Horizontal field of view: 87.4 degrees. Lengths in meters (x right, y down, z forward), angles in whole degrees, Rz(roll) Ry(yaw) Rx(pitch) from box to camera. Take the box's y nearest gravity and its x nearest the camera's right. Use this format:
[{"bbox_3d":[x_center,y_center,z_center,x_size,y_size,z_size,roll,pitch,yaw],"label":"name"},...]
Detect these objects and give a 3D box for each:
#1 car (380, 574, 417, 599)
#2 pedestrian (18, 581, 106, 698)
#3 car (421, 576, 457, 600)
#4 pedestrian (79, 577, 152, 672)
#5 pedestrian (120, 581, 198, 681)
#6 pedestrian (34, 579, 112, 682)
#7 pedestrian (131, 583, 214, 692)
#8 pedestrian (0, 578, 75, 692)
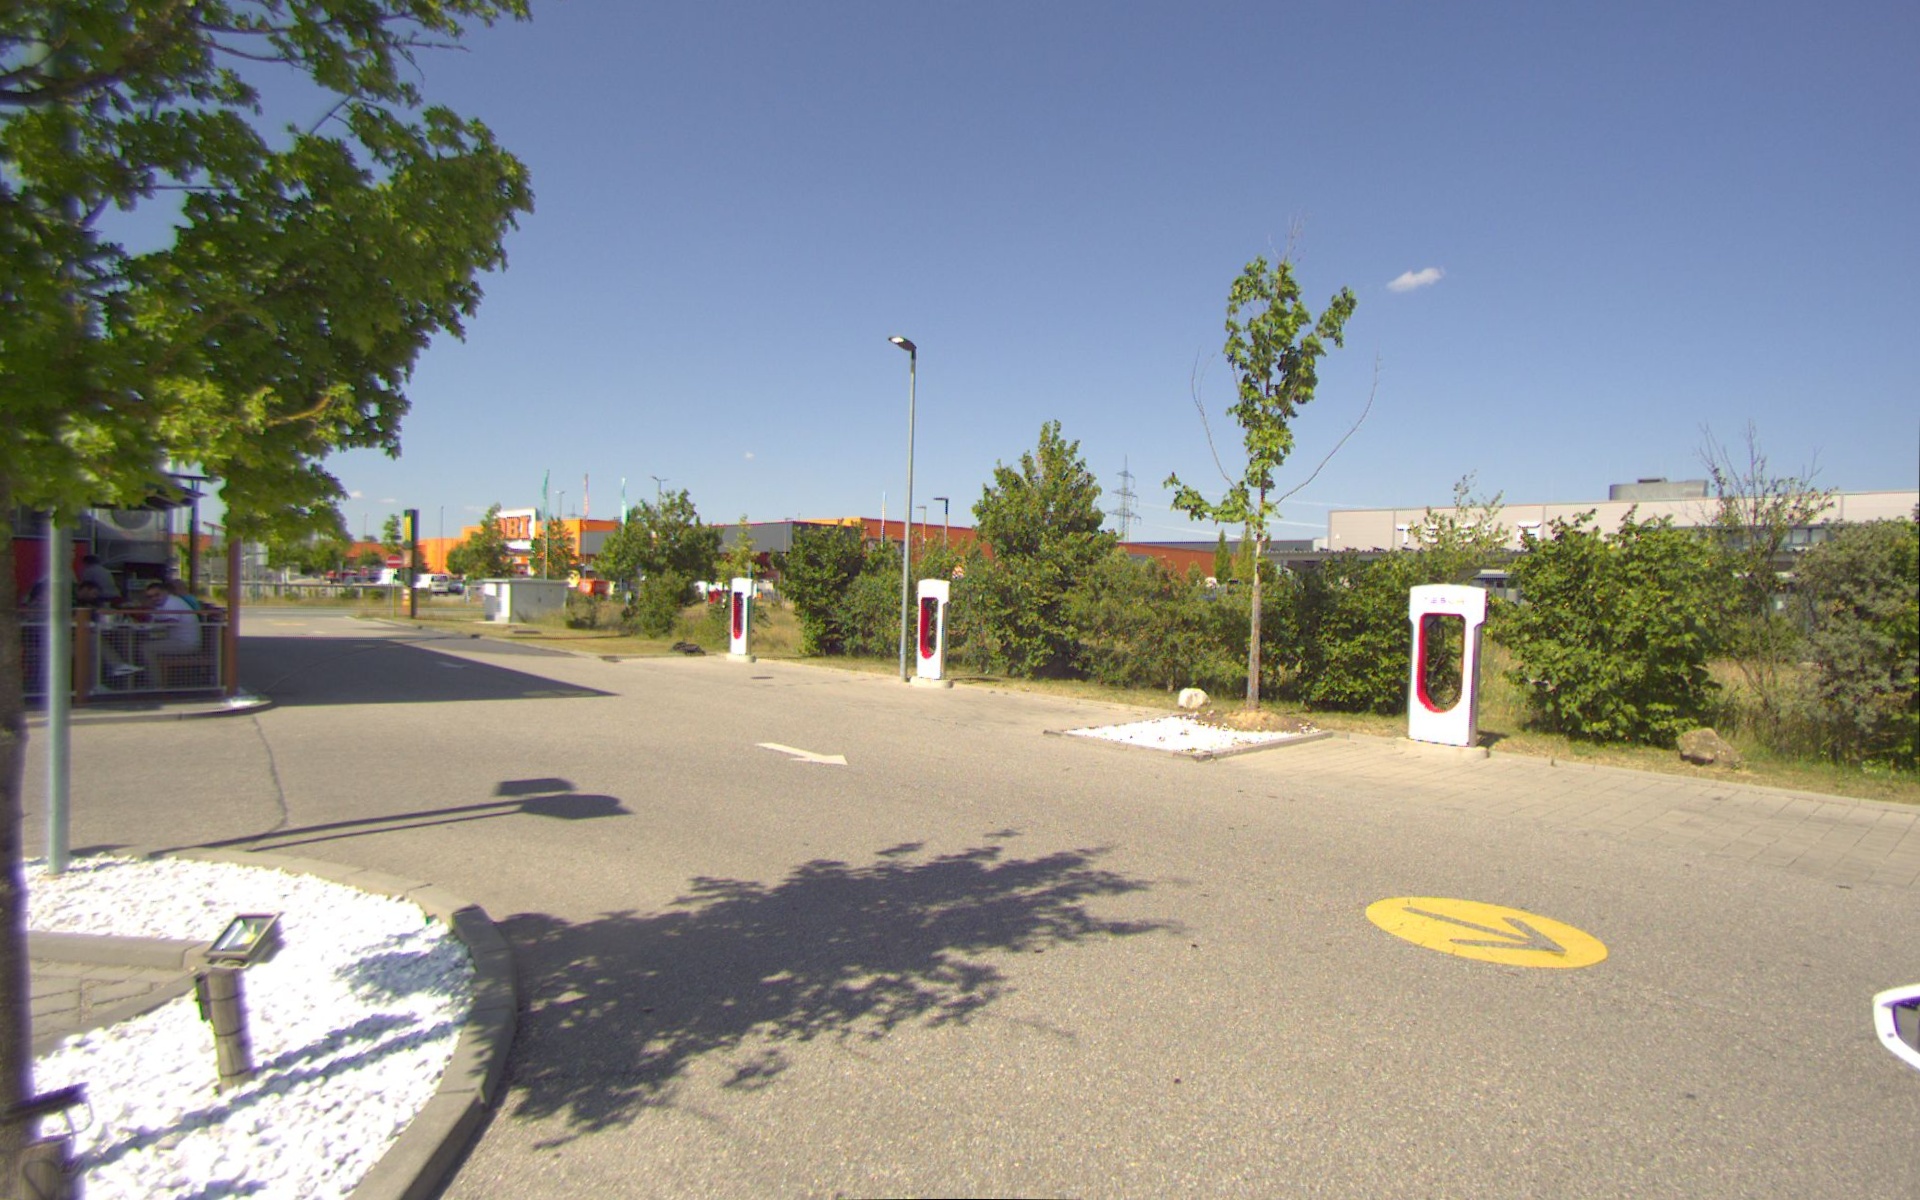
[{"bbox_3d":[-48.989,-1.174,87.582,1.985,2.040,3.952,2,0,-41],"label":"car"},{"bbox_3d":[-10.151,0.431,11.362,0.517,1.275,0.711,2,1,45],"label":"pedestrian"},{"bbox_3d":[-46.757,-1.089,90.117,1.985,2.040,3.952,2,0,-41],"label":"car"},{"bbox_3d":[-11.726,0.325,13.950,0.565,1.275,0.725,2,1,44],"label":"pedestrian"},{"bbox_3d":[-10.543,0.397,13.224,0.565,1.275,0.725,2,1,44],"label":"pedestrian"},{"bbox_3d":[-11.320,0.374,12.816,0.517,1.275,0.711,2,1,45],"label":"pedestrian"},{"bbox_3d":[-9.617,0.445,12.267,0.565,1.275,0.725,2,1,44],"label":"pedestrian"},{"bbox_3d":[-10.729,0.390,11.678,0.517,1.275,0.630,2,1,45],"label":"pedestrian"}]
